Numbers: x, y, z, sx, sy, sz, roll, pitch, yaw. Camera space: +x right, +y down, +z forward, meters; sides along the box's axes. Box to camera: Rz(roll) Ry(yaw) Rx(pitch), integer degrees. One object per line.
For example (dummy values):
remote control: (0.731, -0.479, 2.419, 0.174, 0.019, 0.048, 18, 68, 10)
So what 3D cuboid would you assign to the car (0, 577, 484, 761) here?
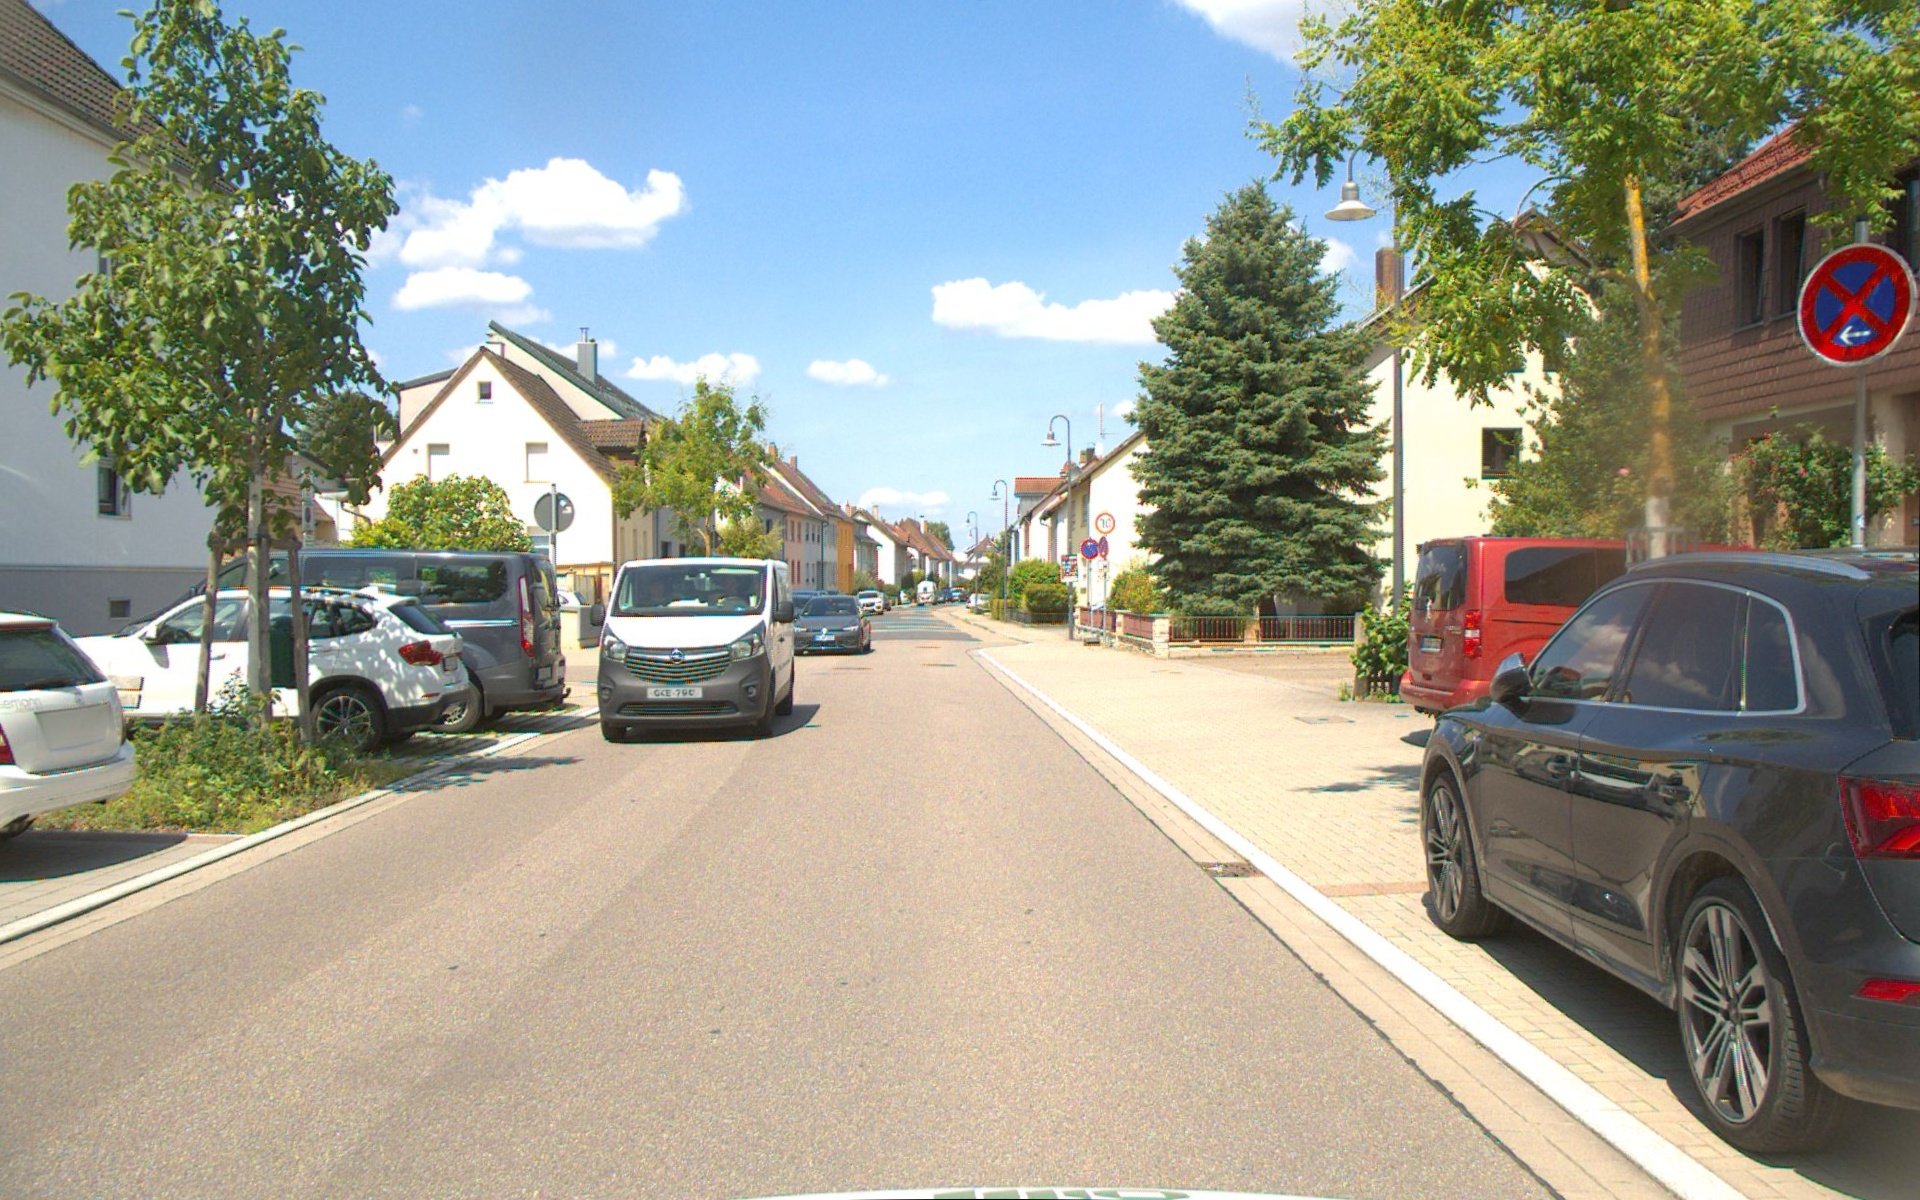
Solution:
car: (-6.926, 0.649, 16.082, 4.102, 1.596, 1.772, 2, -1, -6)

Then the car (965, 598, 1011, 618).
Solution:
car: (2.180, 0.610, 129.022, 3.452, 1.490, 1.628, 2, -1, -1)

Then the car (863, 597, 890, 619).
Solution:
car: (-6.742, 0.609, 133.916, 1.812, 1.688, 4.000, 2, 0, 1)

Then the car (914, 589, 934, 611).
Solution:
car: (-3.954, 0.033, 183.022, 2.002, 2.352, 3.772, 2, -1, 2)

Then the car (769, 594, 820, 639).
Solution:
car: (-6.368, 0.602, 63.981, 1.781, 1.458, 4.136, 4, 1, -4)

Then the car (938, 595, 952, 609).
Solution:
car: (-1.900, 0.275, 212.451, 1.656, 1.689, 3.772, 2, -1, 2)

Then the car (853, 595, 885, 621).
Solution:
car: (-6.194, 0.533, 112.913, 1.812, 1.688, 4.000, 2, 0, 1)

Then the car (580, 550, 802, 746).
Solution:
car: (-2.957, 0.507, 19.224, 1.982, 1.984, 4.895, 0, -1, -3)

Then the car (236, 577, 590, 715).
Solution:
car: (-7.209, 0.603, 22.098, 4.091, 1.647, 1.771, 2, -1, -2)

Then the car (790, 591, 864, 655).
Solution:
car: (-3.390, 0.567, 42.851, 1.727, 1.549, 4.047, -2, 0, -3)

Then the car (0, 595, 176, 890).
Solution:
car: (-6.935, 0.692, 9.252, 4.207, 1.493, 1.774, 1, -1, 0)

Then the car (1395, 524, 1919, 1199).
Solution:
car: (3.026, 0.605, 5.790, 1.826, 1.664, 4.446, -2, 1, 0)

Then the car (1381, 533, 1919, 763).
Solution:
car: (6.515, 0.448, 15.585, 4.527, 1.927, 2.019, 1, -1, -3)

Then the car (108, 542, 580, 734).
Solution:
car: (-6.884, 0.422, 18.895, 4.605, 1.957, 1.937, 2, -1, -2)
